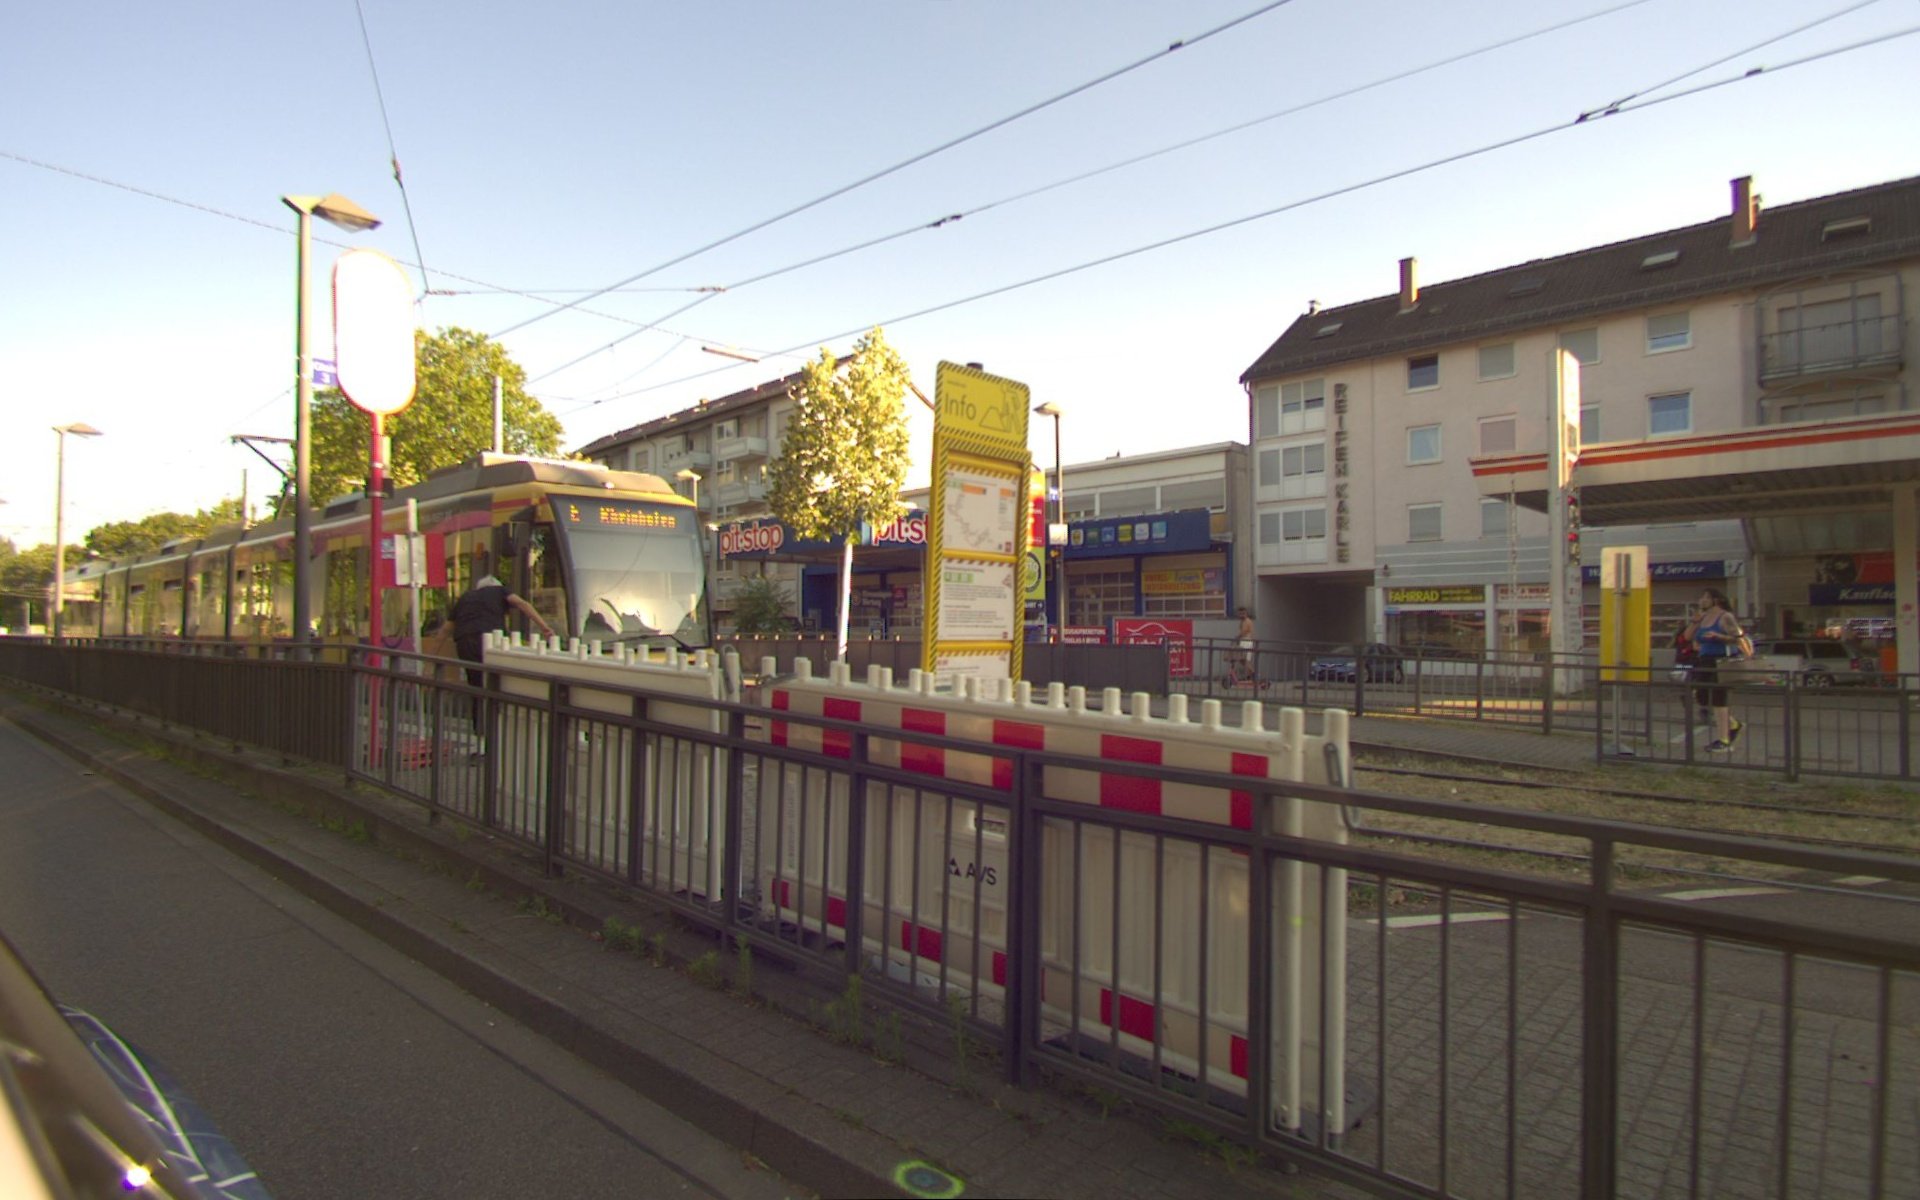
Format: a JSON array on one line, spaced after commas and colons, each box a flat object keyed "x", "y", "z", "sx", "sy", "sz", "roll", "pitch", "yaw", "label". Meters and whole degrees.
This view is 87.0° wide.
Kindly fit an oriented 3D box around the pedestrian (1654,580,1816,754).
[{"x": 7.846, "y": 0.653, "z": 10.302, "sx": 0.915, "sy": 1.666, "sz": 0.935, "roll": -2, "pitch": 0, "yaw": 8, "label": "pedestrian"}]

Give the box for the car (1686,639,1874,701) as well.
[{"x": 22.150, "y": 1.832, "z": 27.452, "sx": 3.826, "sy": 1.535, "sz": 1.793, "roll": -2, "pitch": -2, "yaw": 41, "label": "car"}]

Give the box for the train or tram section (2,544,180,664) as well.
[{"x": -29.775, "y": 0.236, "z": 34.472, "sx": 10.090, "sy": 3.544, "sz": 3.004, "roll": -1, "pitch": -3, "yaw": 41, "label": "train or tram section"}]

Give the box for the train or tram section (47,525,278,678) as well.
[{"x": -22.176, "y": 0.143, "z": 27.854, "sx": 10.090, "sy": 3.544, "sz": 3.004, "roll": -1, "pitch": -3, "yaw": 41, "label": "train or tram section"}]

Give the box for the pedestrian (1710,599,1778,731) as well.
[{"x": 12.032, "y": 0.971, "z": 15.529, "sx": 0.754, "sy": 1.947, "sz": 0.849, "roll": -2, "pitch": -3, "yaw": 39, "label": "pedestrian"}]

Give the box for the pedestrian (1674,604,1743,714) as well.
[{"x": 12.344, "y": 0.959, "z": 16.685, "sx": 0.859, "sy": 1.760, "sz": 0.745, "roll": -2, "pitch": -3, "yaw": 38, "label": "pedestrian"}]

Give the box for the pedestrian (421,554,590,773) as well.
[{"x": -3.490, "y": 0.460, "z": 7.806, "sx": 0.787, "sy": 1.562, "sz": 0.908, "roll": -1, "pitch": -1, "yaw": 33, "label": "pedestrian"}]

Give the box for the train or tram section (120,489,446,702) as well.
[{"x": -14.541, "y": 0.036, "z": 21.234, "sx": 10.090, "sy": 3.544, "sz": 3.004, "roll": -1, "pitch": -3, "yaw": 41, "label": "train or tram section"}]

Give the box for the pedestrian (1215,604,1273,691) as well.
[{"x": 6.419, "y": 1.058, "z": 22.891, "sx": 1.000, "sy": 1.896, "sz": 0.745, "roll": -2, "pitch": 0, "yaw": 41, "label": "pedestrian"}]

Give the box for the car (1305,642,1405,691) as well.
[{"x": 13.391, "y": 2.191, "z": 34.211, "sx": 1.818, "sy": 1.535, "sz": 3.751, "roll": -2, "pitch": -3, "yaw": 44, "label": "car"}]

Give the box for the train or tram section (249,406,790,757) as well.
[{"x": -6.920, "y": -0.080, "z": 14.632, "sx": 10.090, "sy": 3.544, "sz": 3.004, "roll": -1, "pitch": -3, "yaw": 41, "label": "train or tram section"}]
